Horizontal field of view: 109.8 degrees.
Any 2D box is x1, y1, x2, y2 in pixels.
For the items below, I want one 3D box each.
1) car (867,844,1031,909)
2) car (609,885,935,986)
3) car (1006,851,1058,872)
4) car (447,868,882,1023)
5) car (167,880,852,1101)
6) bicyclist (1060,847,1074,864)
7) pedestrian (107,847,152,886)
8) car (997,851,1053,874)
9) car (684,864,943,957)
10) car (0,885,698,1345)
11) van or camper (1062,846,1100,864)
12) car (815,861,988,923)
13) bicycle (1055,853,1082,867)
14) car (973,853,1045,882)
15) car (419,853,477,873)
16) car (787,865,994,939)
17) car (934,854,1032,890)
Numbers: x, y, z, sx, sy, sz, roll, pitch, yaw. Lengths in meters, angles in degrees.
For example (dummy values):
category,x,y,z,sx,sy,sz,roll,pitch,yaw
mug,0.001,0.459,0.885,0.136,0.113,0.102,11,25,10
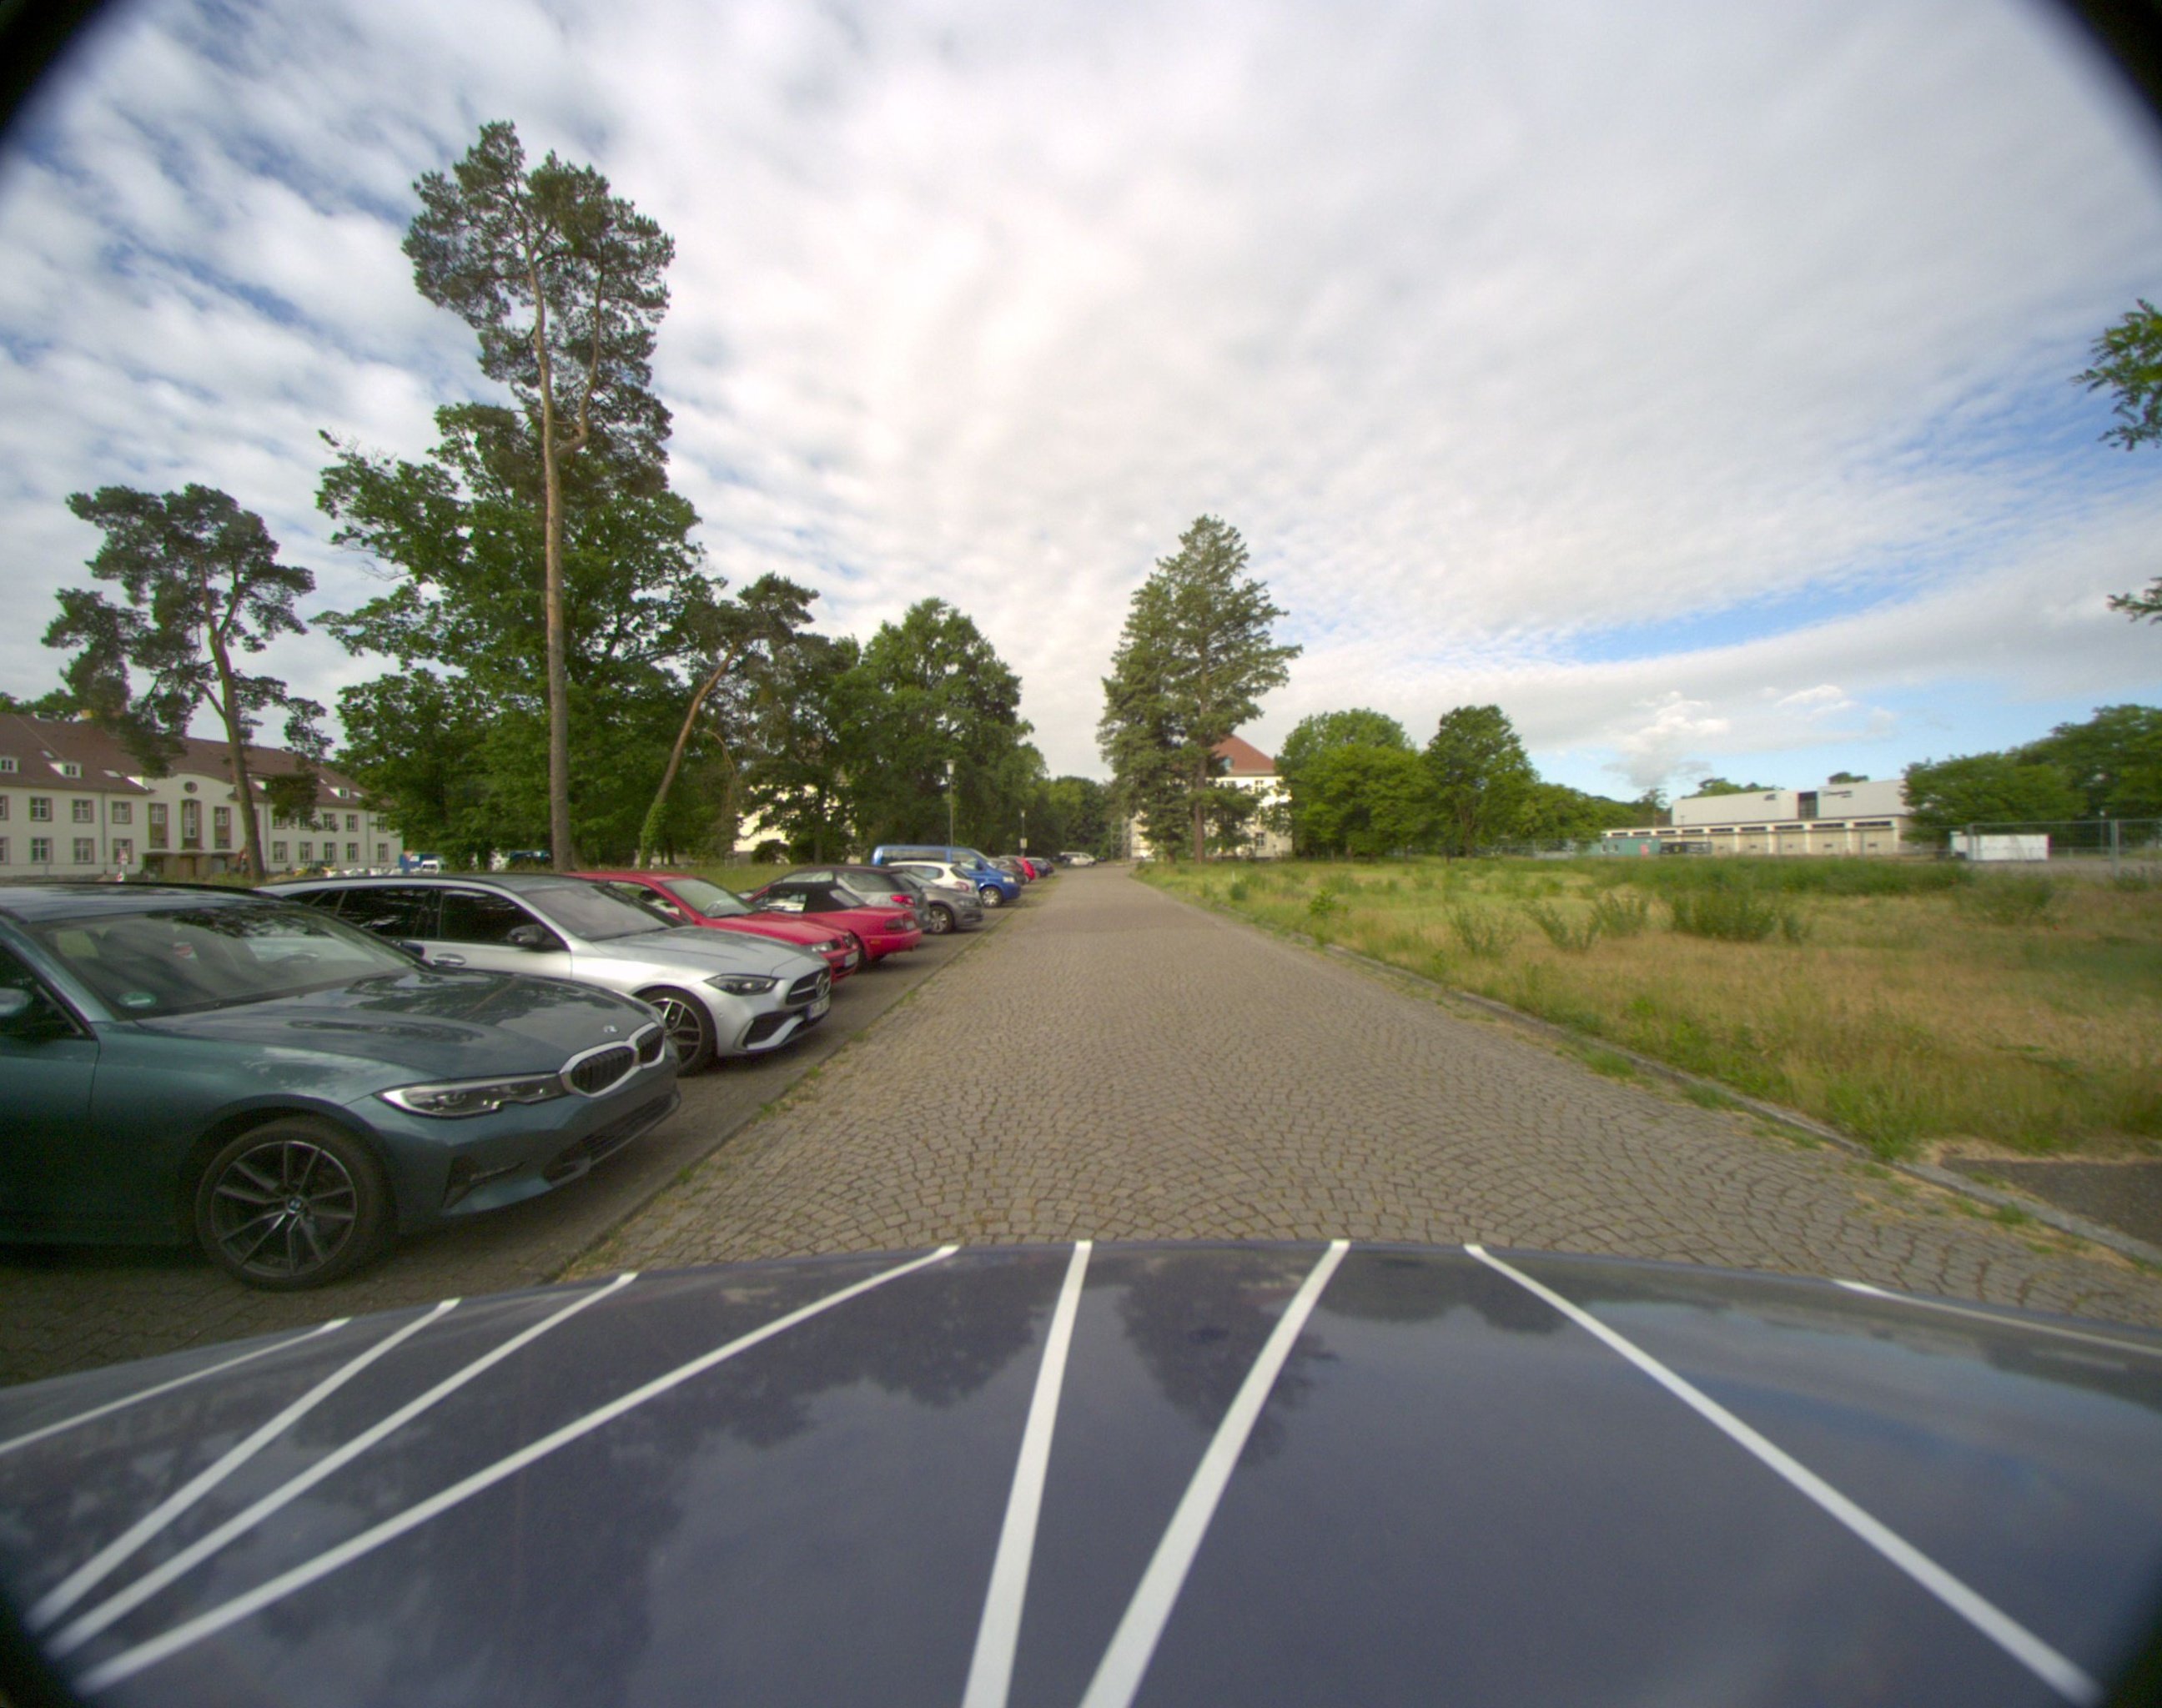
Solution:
category,x,y,z,sx,sy,sz,roll,pitch,yaw
car,-4.180,0.700,24.536,4.839,2.002,2.001,-1,1,5
car,-4.277,1.120,10.958,3.932,1.227,1.797,-1,1,2
car,-3.712,0.567,58.553,3.790,1.615,2.000,-1,1,2
car,-4.488,0.956,8.611,3.932,1.504,1.797,-1,1,3
car,-4.292,0.988,6.185,4.266,1.437,1.797,-1,1,3
bicyclist,-1.482,0.148,79.995,1.318,1.857,1.250,-1,1,6
pedestrian,-54.376,0.714,43.425,1.184,2.165,1.056,-1,1,1
car,-3.949,0.609,54.074,3.790,1.560,2.000,-1,1,2
car,-4.601,0.951,13.480,3.932,1.467,1.797,-1,1,2
car,-4.510,0.924,3.430,4.630,1.437,1.796,-1,1,1
van or camper,-0.071,0.129,107.557,5.248,2.449,2.208,-1,1,-2
car,-4.476,0.933,19.332,3.933,1.441,1.796,-1,1,1
bicycle,-1.337,0.628,79.966,2.673,1.496,1.273,-1,1,6
car,-4.089,0.753,43.765,3.998,1.560,1.999,-1,1,-3
car,-67.653,0.927,81.269,2.166,2.002,4.833,-1,0,-1
car,-3.963,0.990,16.253,3.933,1.427,1.796,-1,1,1
car,-4.257,0.760,33.471,3.996,1.496,1.869,-1,1,3
